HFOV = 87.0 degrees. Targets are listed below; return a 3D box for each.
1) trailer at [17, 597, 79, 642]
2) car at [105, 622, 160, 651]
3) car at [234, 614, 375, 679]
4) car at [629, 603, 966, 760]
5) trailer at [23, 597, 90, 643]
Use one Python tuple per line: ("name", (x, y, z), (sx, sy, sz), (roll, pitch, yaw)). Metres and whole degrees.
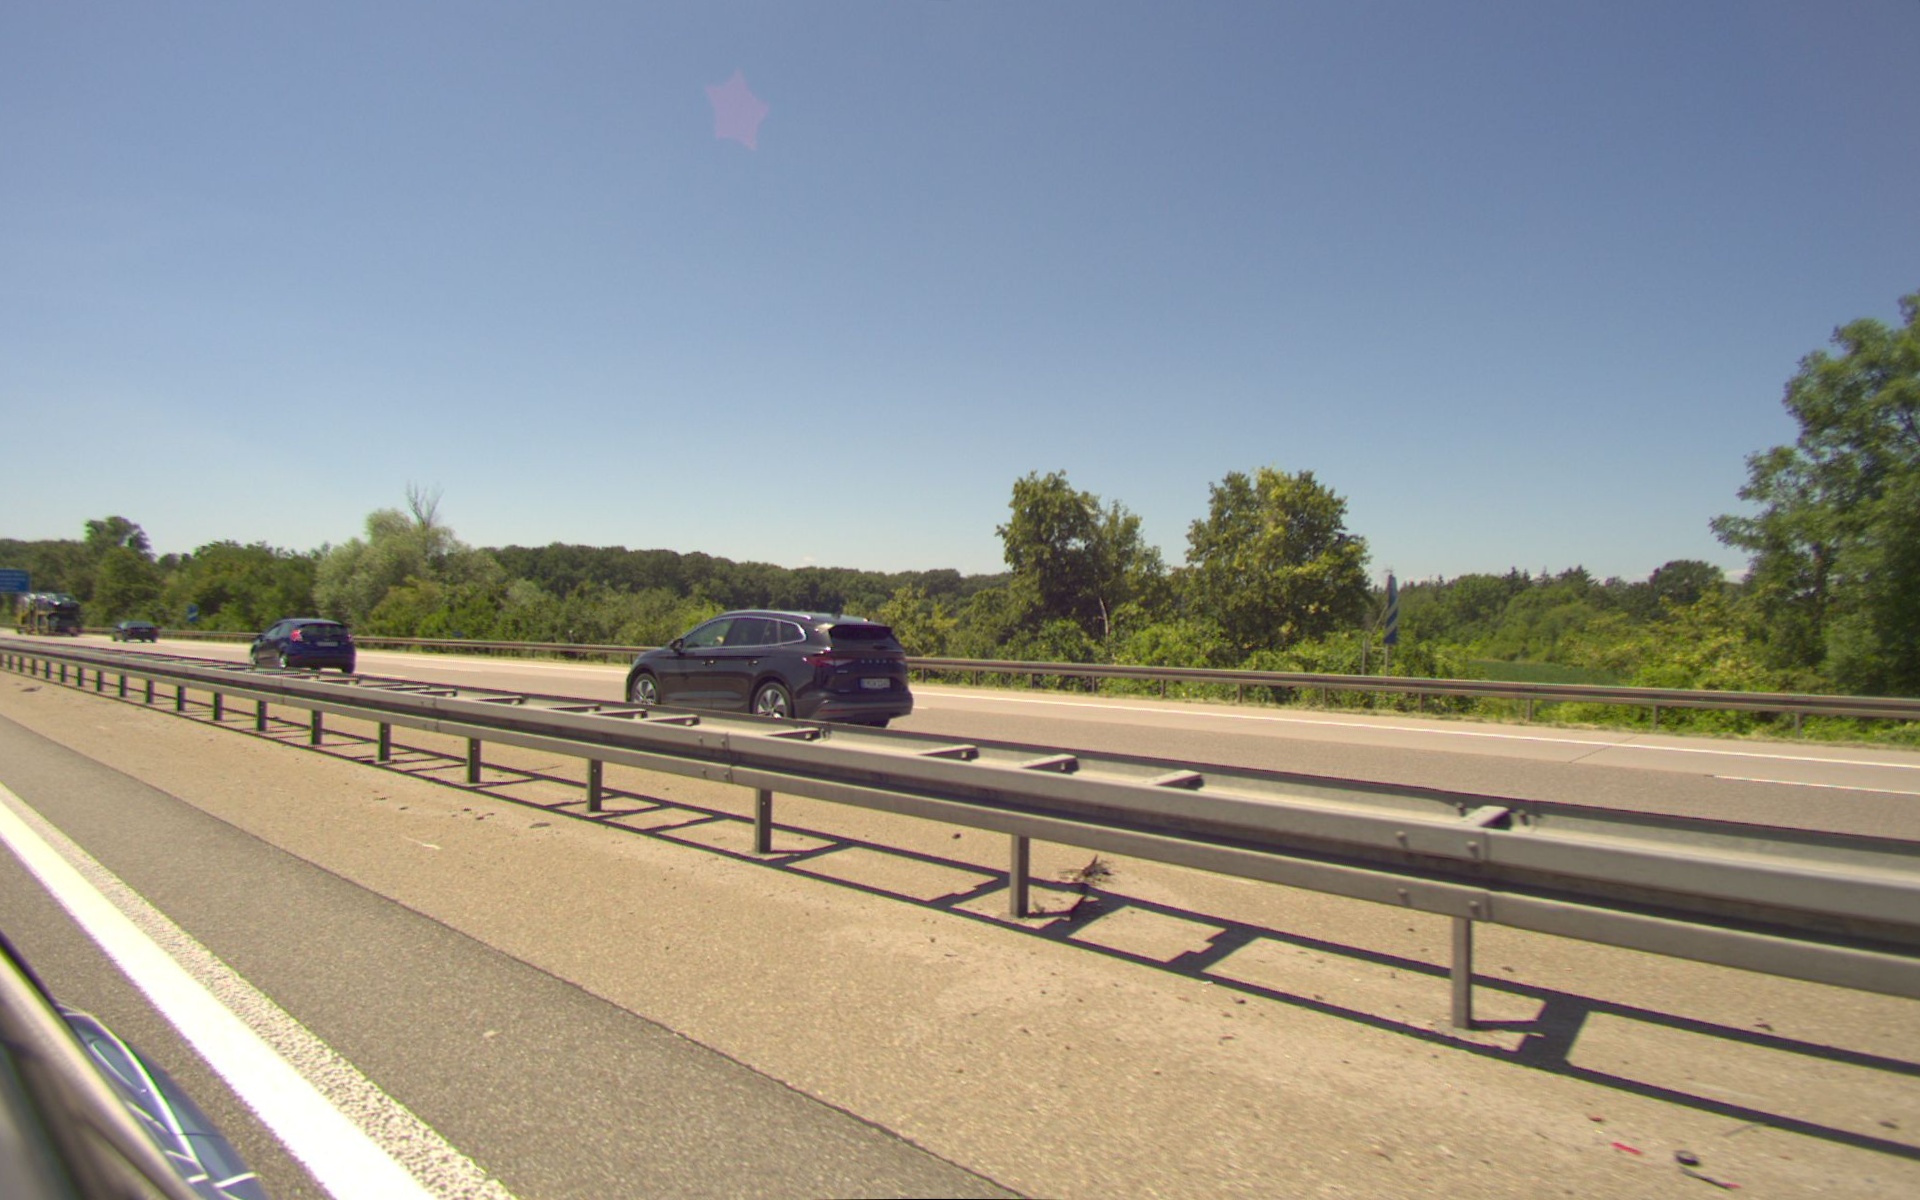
("trailer", (-86.718, 1.897, 96.144), (10.528, 3.998, 2.891), (-1, -4, 40))
("car", (-57.375, 2.541, 70.160), (4.577, 1.886, 1.974), (-1, -5, 39))
("car", (-17.953, 1.249, 27.645), (4.596, 1.617, 1.973), (-1, -4, 41))
("car", (-2.234, 0.938, 13.236), (4.405, 1.703, 1.973), (-1, -2, 41))
("trailer", (-83.266, 1.884, 93.172), (11.642, 3.998, 2.891), (-1, -3, 40))
